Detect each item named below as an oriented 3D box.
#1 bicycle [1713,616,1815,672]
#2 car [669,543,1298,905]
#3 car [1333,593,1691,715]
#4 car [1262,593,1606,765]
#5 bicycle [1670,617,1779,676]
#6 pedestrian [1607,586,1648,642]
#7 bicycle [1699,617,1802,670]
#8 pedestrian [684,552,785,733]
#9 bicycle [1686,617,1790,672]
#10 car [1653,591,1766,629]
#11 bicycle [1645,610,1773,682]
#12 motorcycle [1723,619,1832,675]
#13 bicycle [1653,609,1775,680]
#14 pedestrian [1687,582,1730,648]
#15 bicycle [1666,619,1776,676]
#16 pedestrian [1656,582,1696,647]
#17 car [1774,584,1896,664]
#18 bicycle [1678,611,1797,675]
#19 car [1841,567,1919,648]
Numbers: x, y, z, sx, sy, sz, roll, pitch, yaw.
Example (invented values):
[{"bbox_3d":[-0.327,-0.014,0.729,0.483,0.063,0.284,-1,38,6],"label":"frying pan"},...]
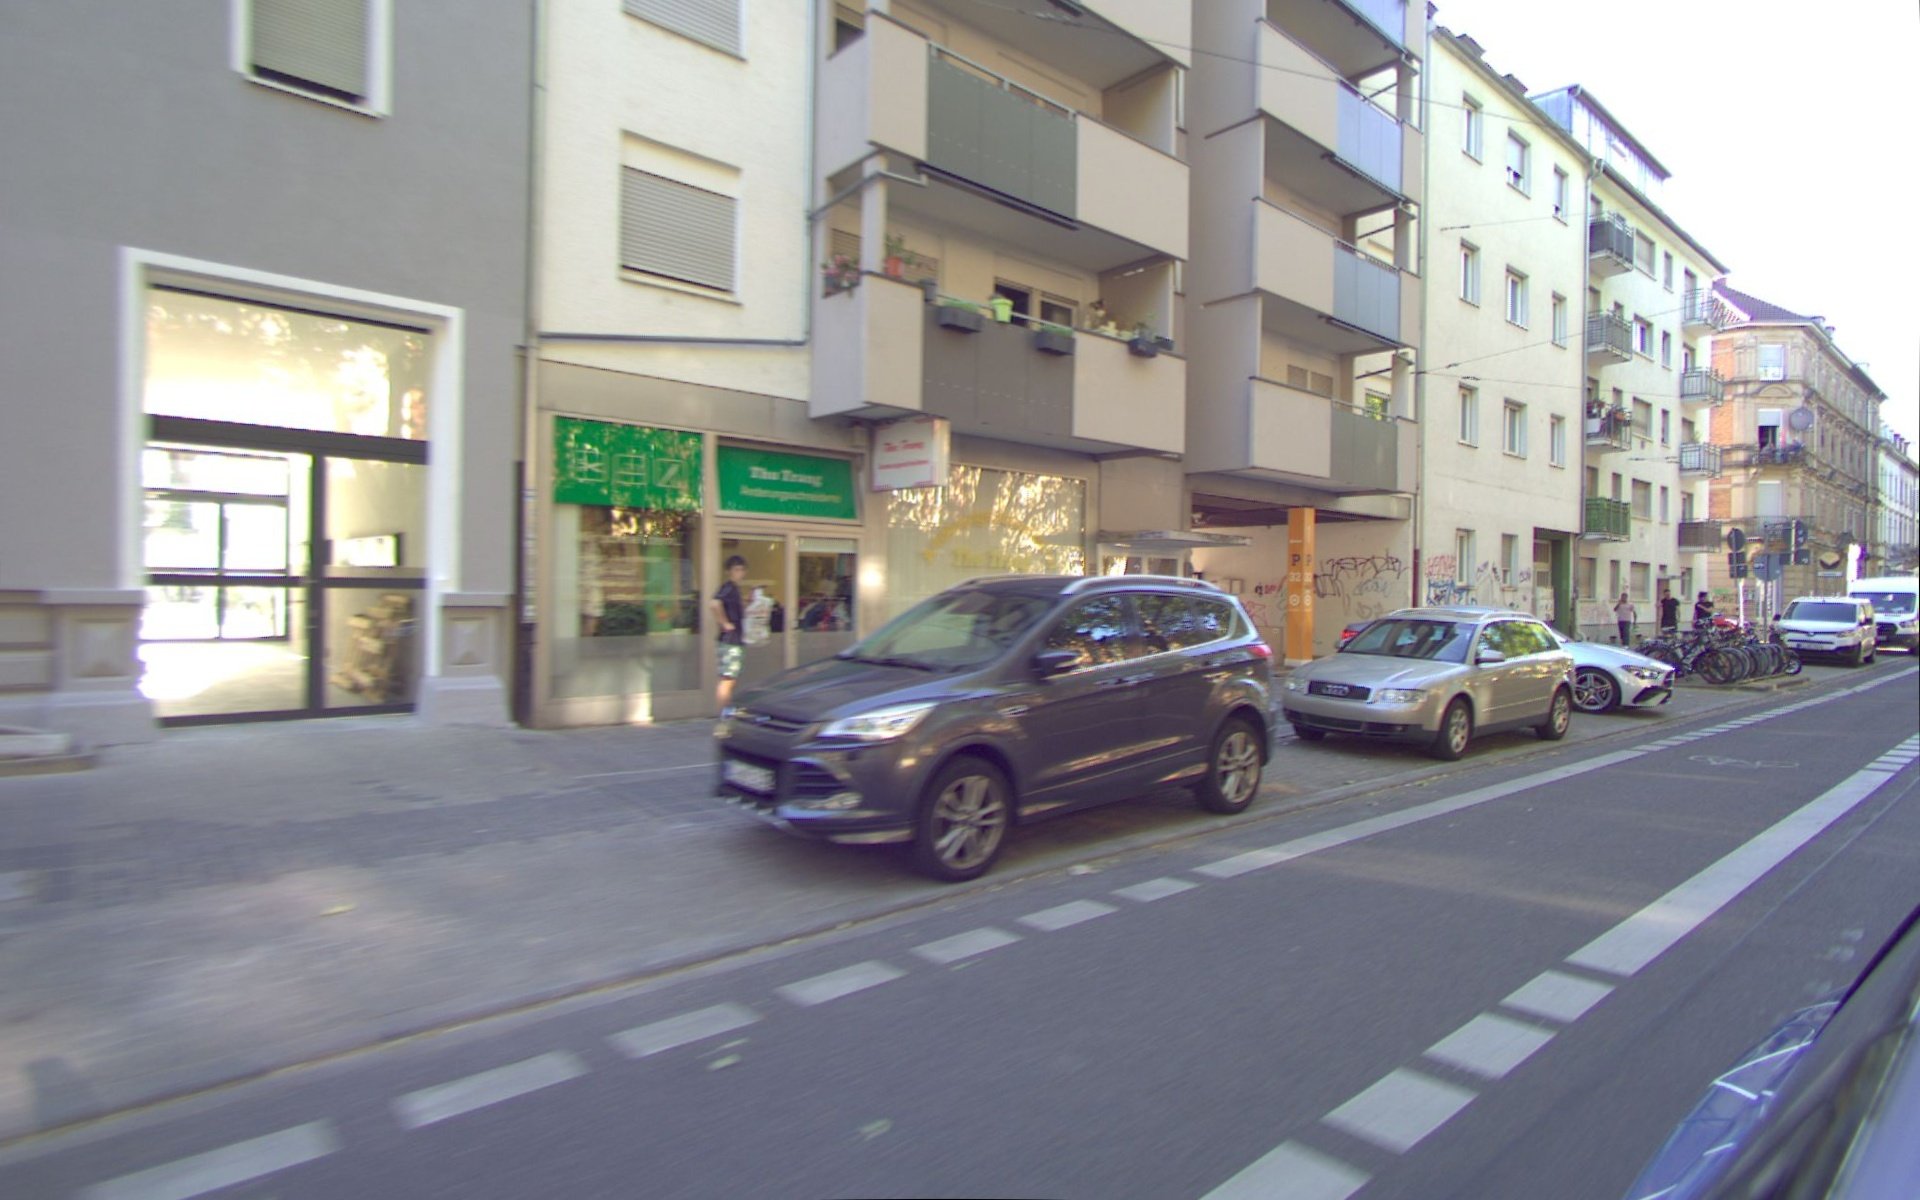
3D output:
[{"bbox_3d":[17.461,0.942,22.009,0.449,1.068,1.656,0,3,-40],"label":"bicycle"},{"bbox_3d":[0.387,0.574,6.891,4.209,1.726,1.769,0,1,-42],"label":"car"},{"bbox_3d":[8.418,0.709,15.687,4.607,1.455,1.838,3,2,39],"label":"car"},{"bbox_3d":[5.415,0.712,11.291,4.431,1.544,1.728,0,1,-39],"label":"car"},{"bbox_3d":[15.442,0.914,20.479,0.449,1.033,1.656,0,3,-40],"label":"bicycle"},{"bbox_3d":[20.148,0.400,30.554,0.916,1.598,0.634,0,6,-39],"label":"pedestrian"},{"bbox_3d":[16.963,0.910,21.762,0.449,0.999,1.656,0,3,-40],"label":"bicycle"},{"bbox_3d":[-2.271,0.402,10.259,0.710,1.742,0.754,1,0,17],"label":"pedestrian"},{"bbox_3d":[16.422,0.916,21.406,0.449,0.999,1.656,0,3,-40],"label":"bicycle"},{"bbox_3d":[32.812,0.432,44.393,1.757,1.594,3.659,-1,0,-38],"label":"car"},{"bbox_3d":[14.395,0.850,19.494,0.449,1.206,1.896,0,3,-40],"label":"bicycle"},{"bbox_3d":[18.159,1.016,22.530,0.604,1.093,1.829,1,2,-17],"label":"motorcycle"},{"bbox_3d":[14.730,0.842,19.816,0.449,1.206,1.827,0,3,-40],"label":"bicycle"},{"bbox_3d":[21.325,0.408,28.837,1.062,1.845,0.711,0,2,-39],"label":"pedestrian"},{"bbox_3d":[15.099,0.921,20.118,0.449,0.978,1.656,0,3,-40],"label":"bicycle"},{"bbox_3d":[20.917,0.419,29.560,1.062,1.845,0.626,0,2,-39],"label":"pedestrian"},{"bbox_3d":[23.881,0.573,27.572,4.276,1.841,1.863,-1,5,-41],"label":"car"},{"bbox_3d":[15.977,0.853,20.826,0.692,1.162,1.798,0,3,-40],"label":"bicycle"},{"bbox_3d":[31.656,0.221,34.125,5.982,2.527,2.153,0,1,-41],"label":"car"}]
